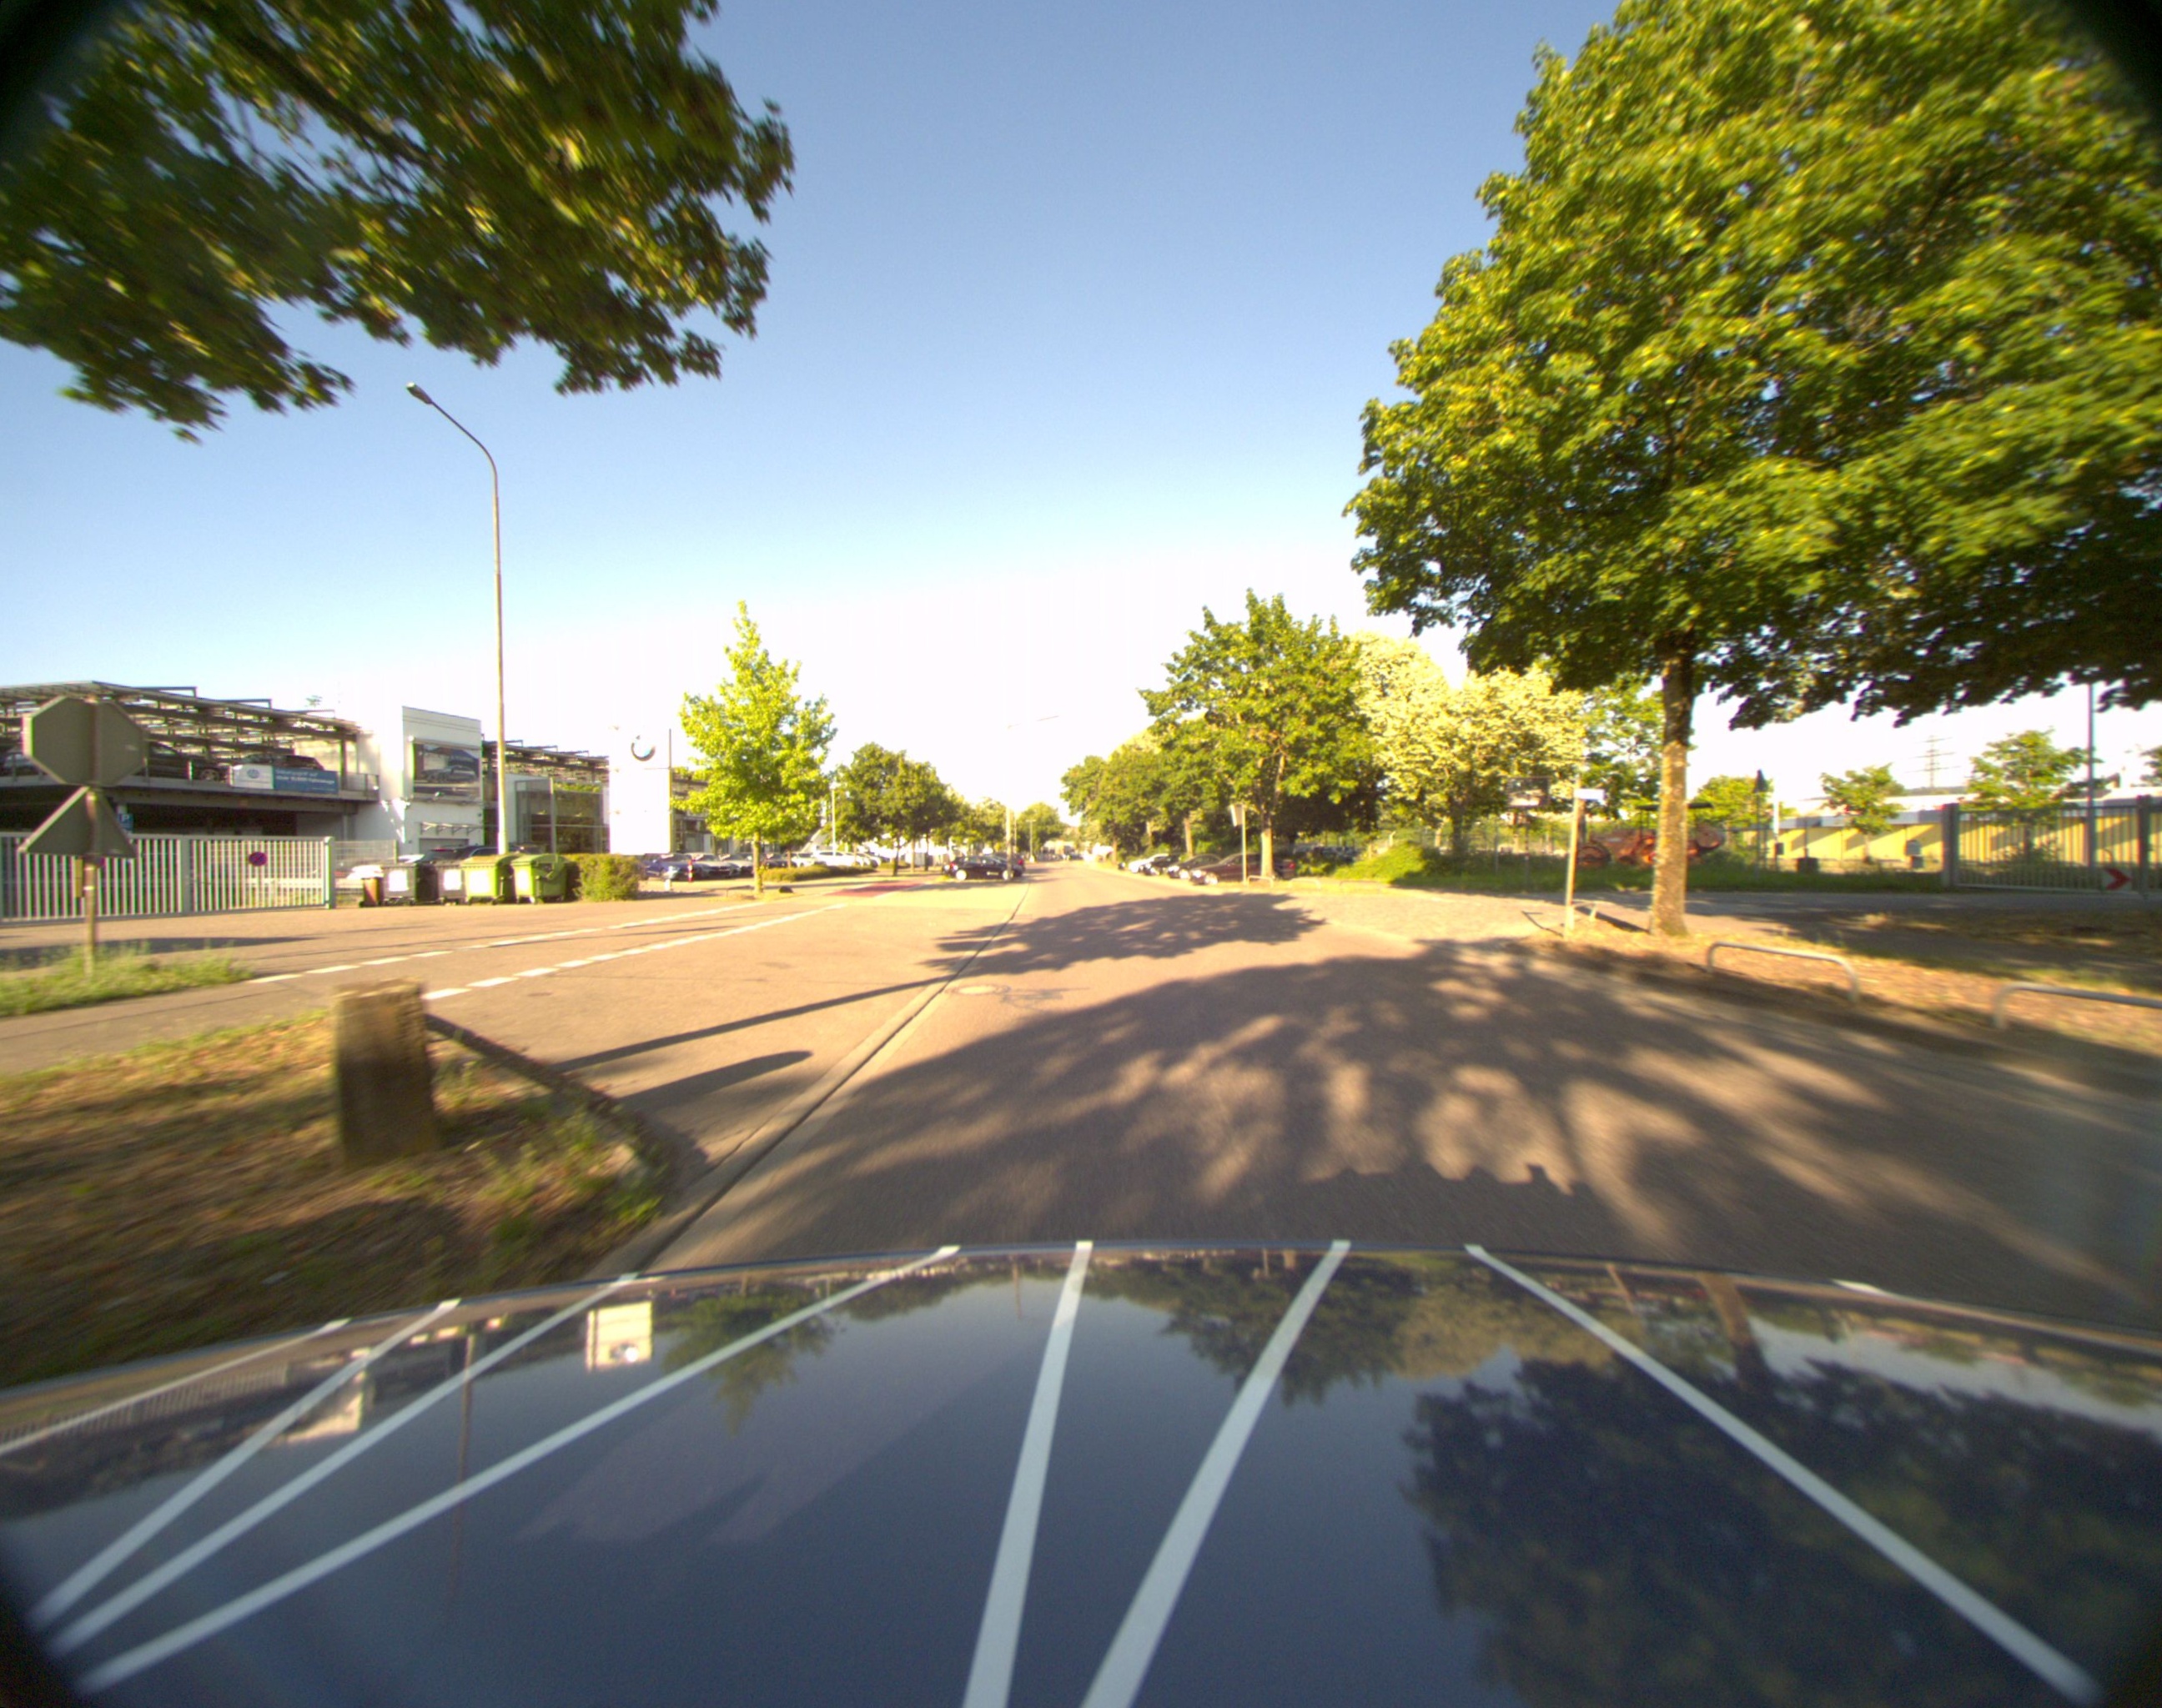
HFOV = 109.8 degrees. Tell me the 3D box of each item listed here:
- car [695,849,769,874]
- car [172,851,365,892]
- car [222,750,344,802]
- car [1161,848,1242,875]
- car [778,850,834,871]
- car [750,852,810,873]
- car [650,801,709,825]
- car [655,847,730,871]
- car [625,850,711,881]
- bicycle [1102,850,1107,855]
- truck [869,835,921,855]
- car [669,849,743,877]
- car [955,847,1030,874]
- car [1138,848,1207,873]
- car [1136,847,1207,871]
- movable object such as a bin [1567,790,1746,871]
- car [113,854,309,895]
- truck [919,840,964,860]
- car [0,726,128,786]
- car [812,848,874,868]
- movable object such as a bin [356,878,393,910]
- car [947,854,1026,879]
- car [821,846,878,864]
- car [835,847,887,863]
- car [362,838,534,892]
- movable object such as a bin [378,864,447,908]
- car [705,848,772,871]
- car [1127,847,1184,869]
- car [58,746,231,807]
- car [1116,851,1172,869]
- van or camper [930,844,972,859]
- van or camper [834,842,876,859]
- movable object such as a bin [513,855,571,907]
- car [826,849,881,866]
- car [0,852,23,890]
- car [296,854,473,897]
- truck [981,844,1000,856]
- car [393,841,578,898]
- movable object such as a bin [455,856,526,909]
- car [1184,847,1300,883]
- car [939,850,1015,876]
[{"bbox_3d":[-21.224,0.442,46.117,4.775,1.455,2.004,0,1,37],"label":"car"},{"bbox_3d":[-30.576,0.608,28.828,2.034,1.423,4.564,0,0,12],"label":"car"},{"bbox_3d":[-39.233,-3.817,37.402,4.196,2.089,2.001,-3,0,8],"label":"car"},{"bbox_3d":[7.279,0.434,46.248,4.492,1.453,1.999,-2,1,-4],"label":"car"},{"bbox_3d":[-22.224,0.487,61.256,5.176,1.562,2.004,0,1,41],"label":"car"},{"bbox_3d":[-21.381,0.572,53.835,4.775,1.455,2.004,0,1,41],"label":"car"},{"bbox_3d":[-33.467,-3.423,63.405,3.994,1.656,1.788,-3,0,9],"label":"car"},{"bbox_3d":[-29.172,0.358,57.272,4.794,1.763,1.996,0,1,-20],"label":"car"},{"bbox_3d":[-21.053,0.545,38.651,4.775,1.455,2.004,0,0,37],"label":"car"},{"bbox_3d":[4.446,-0.321,145.908,0.768,1.033,2.216,-1,1,-4],"label":"bicycle"},{"bbox_3d":[-35.075,-1.646,143.476,10.091,3.623,3.302,0,1,31],"label":"truck"},{"bbox_3d":[-21.073,0.497,42.575,4.775,1.455,2.051,0,1,42],"label":"car"},{"bbox_3d":[-5.804,0.422,50.379,4.707,1.741,2.191,-1,0,0],"label":"car"},{"bbox_3d":[6.458,0.455,53.817,4.492,1.522,1.999,-2,1,-4],"label":"car"},{"bbox_3d":[6.701,0.337,56.357,4.865,1.522,1.998,-2,1,-8],"label":"car"},{"bbox_3d":[20.655,-0.786,27.438,2.169,2.649,4.791,-1,1,-40],"label":"movable object such as a bin"},{"bbox_3d":[-33.520,0.733,29.492,2.034,1.423,4.564,0,0,12],"label":"car"},{"bbox_3d":[-25.528,-0.692,138.843,8.230,3.501,3.121,0,1,32],"label":"truck"},{"bbox_3d":[-46.040,-4.288,33.687,1.997,2.089,4.204,-3,0,8],"label":"car"},{"bbox_3d":[-20.859,0.339,66.668,4.737,1.680,2.405,1,0,-31],"label":"car"},{"bbox_3d":[-21.082,1.193,22.669,0.506,0.916,0.604,0,1,6],"label":"movable object such as a bin"},{"bbox_3d":[-5.481,0.696,44.704,4.494,1.396,2.033,-1,0,-4],"label":"car"},{"bbox_3d":[-21.158,0.057,69.590,4.613,1.565,1.995,1,0,-31],"label":"car"},{"bbox_3d":[-21.809,0.116,75.465,4.613,1.565,1.995,1,0,-31],"label":"car"},{"bbox_3d":[-23.172,0.357,28.075,2.034,1.817,4.564,0,1,12],"label":"car"},{"bbox_3d":[-19.987,0.948,22.735,1.120,1.260,1.038,-1,1,3],"label":"movable object such as a bin"},{"bbox_3d":[-22.976,0.332,50.951,4.775,1.455,2.004,0,1,37],"label":"car"},{"bbox_3d":[5.998,0.324,61.454,4.298,1.522,1.999,-2,1,-3],"label":"car"},{"bbox_3d":[-40.267,-3.252,32.856,1.997,2.089,4.204,-3,0,8],"label":"car"},{"bbox_3d":[5.554,0.521,67.138,4.663,1.413,1.915,-2,1,-7],"label":"car"},{"bbox_3d":[-25.821,-0.529,151.008,7.990,2.883,2.948,0,1,27],"label":"van or camper"},{"bbox_3d":[-44.584,-0.652,149.905,8.118,3.309,2.418,0,1,22],"label":"van or camper"},{"bbox_3d":[-15.388,0.764,21.719,0.846,1.408,1.040,-2,0,28],"label":"movable object such as a bin"},{"bbox_3d":[-21.687,0.285,72.429,4.612,1.565,1.995,-1,1,-31],"label":"car"},{"bbox_3d":[-49.072,0.775,32.153,2.035,1.663,4.563,0,0,7],"label":"car"},{"bbox_3d":[-25.894,0.745,28.508,2.034,1.423,4.564,0,0,12],"label":"car"},{"bbox_3d":[-20.107,-0.873,169.024,2.542,2.704,5.978,0,0,12],"label":"truck"},{"bbox_3d":[-20.746,0.499,26.814,2.034,1.817,4.980,0,0,12],"label":"car"},{"bbox_3d":[-17.109,0.819,22.033,1.213,1.475,1.038,-1,1,3],"label":"movable object such as a bin"},{"bbox_3d":[7.663,0.521,36.373,5.049,1.453,1.999,-2,1,-4],"label":"car"},{"bbox_3d":[-6.359,0.534,46.934,4.494,1.541,2.033,-1,0,-3],"label":"car"}]
